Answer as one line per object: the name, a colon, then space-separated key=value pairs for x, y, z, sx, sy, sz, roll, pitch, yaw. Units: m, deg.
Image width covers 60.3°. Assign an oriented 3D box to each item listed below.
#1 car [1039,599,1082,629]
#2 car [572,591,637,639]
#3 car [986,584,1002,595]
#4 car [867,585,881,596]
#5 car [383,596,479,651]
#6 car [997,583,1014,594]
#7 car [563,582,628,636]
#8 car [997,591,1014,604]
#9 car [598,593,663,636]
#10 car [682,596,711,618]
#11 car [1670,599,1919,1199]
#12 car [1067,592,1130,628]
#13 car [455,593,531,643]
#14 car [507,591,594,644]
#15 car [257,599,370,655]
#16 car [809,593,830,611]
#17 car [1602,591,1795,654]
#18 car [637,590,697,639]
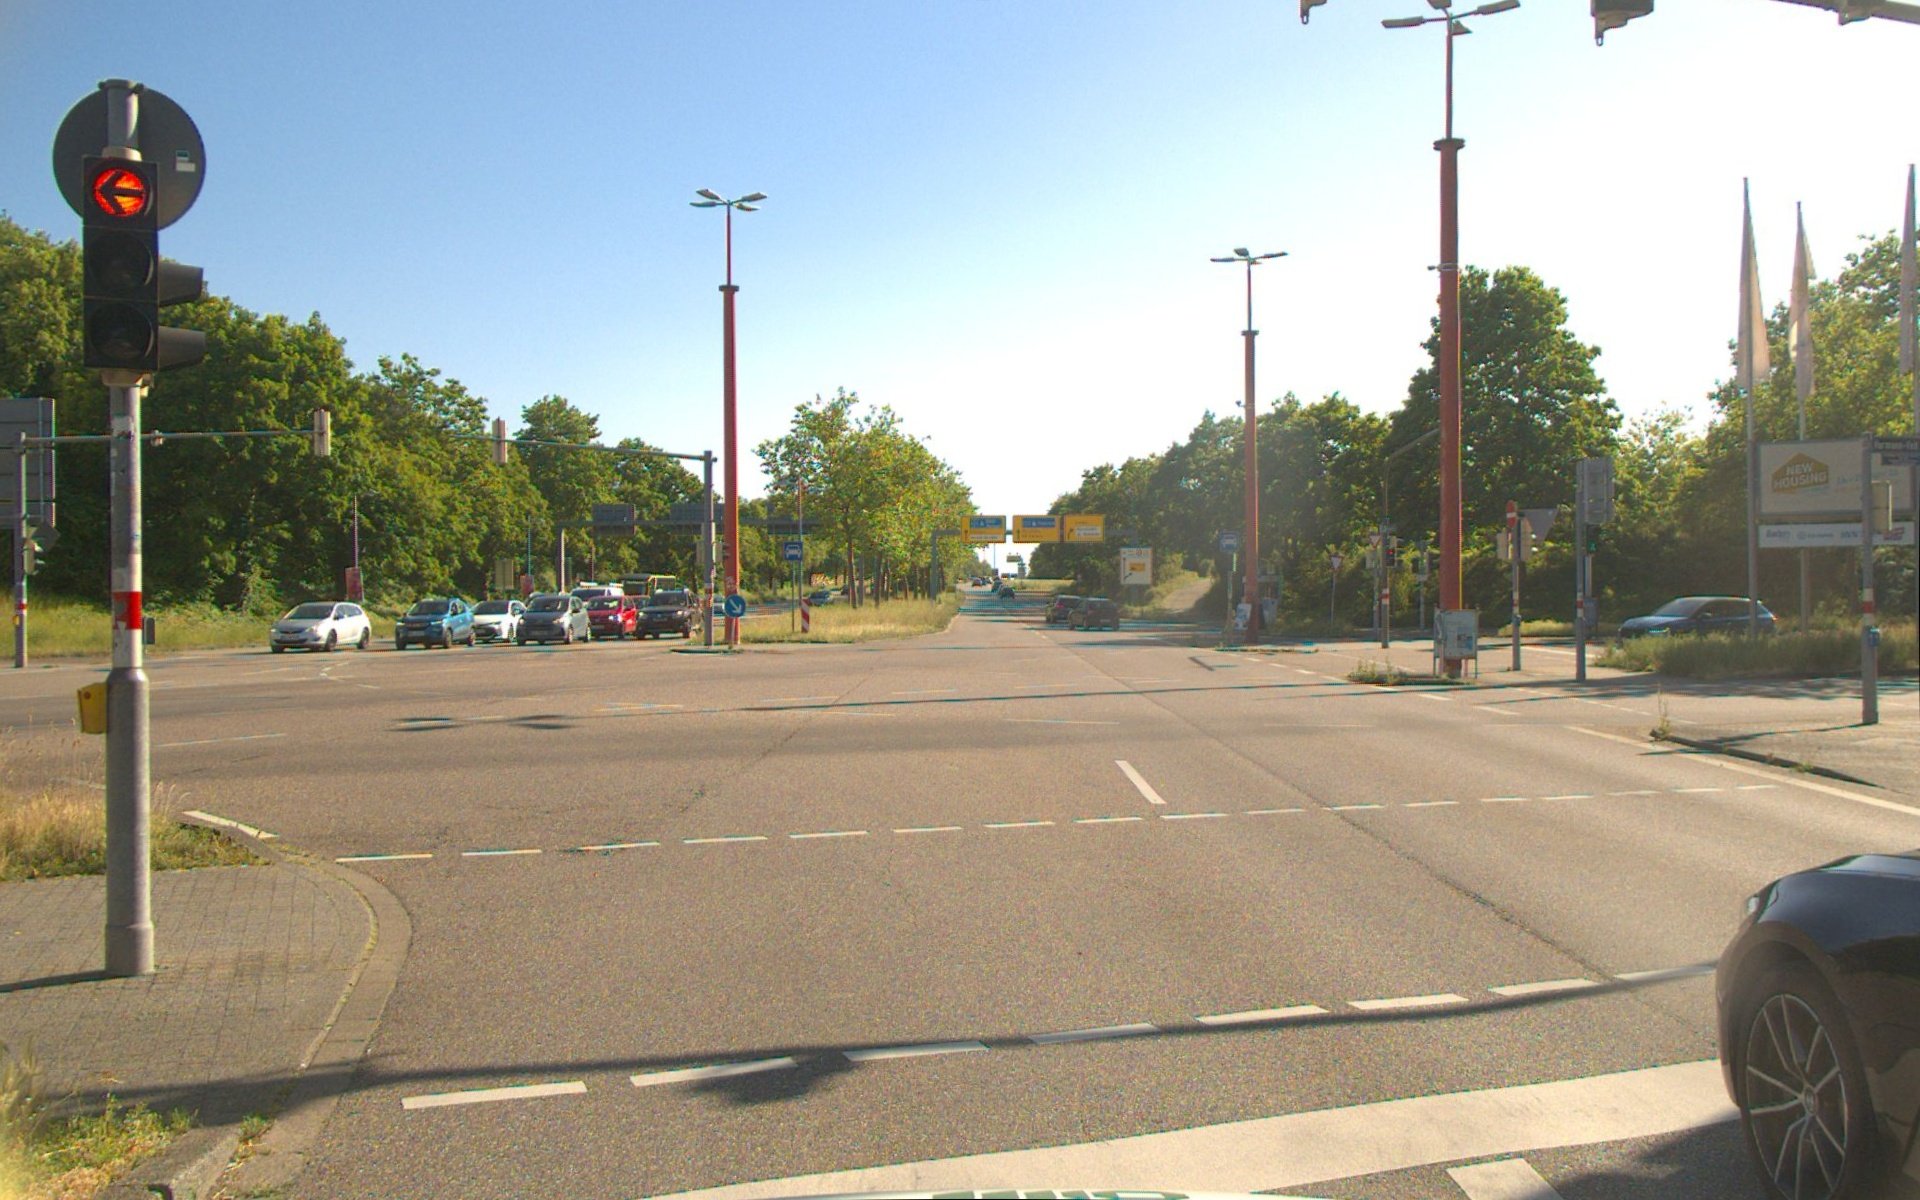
car: x=5.623 y=0.772 z=92.884 sx=2.115 sy=1.601 sz=4.582 roll=0 pitch=0 yaw=0
car: x=-12.479 y=0.504 z=58.264 sx=1.956 sy=1.601 sz=4.113 roll=0 pitch=0 yaw=-8
car: x=5.164 y=-1.650 z=253.712 sx=2.116 sy=1.601 sz=4.277 roll=0 pitch=0 yaw=-4
car: x=-12.858 y=-1.464 z=247.097 sx=1.840 sy=1.601 sz=4.116 roll=0 pitch=0 yaw=-5
car: x=-16.208 y=0.680 z=50.883 sx=1.955 sy=1.601 sz=4.116 roll=0 pitch=0 yaw=-5
car: x=6.440 y=-1.630 z=233.265 sx=2.115 sy=1.601 sz=4.279 roll=0 pitch=0 yaw=-2
car: x=-15.672 y=0.383 z=71.257 sx=2.021 sy=2.231 sz=4.376 roll=0 pitch=0 yaw=-3
car: x=5.730 y=-0.378 z=208.140 sx=2.114 sy=1.601 sz=4.281 roll=0 pitch=0 yaw=1
car: x=-12.712 y=0.525 z=64.039 sx=1.954 sy=1.601 sz=4.117 roll=0 pitch=0 yaw=-4
car: x=-19.871 y=0.523 z=124.815 sx=1.840 sy=1.601 sz=4.116 roll=0 pitch=0 yaw=-5
car: x=2.975 y=0.711 z=2.354 sx=1.953 sy=1.419 sz=4.476 roll=0 pitch=0 yaw=-1
car: x=6.346 y=0.433 z=76.147 sx=2.117 sy=1.601 sz=4.275 roll=0 pitch=0 yaw=-6
car: x=-15.991 y=0.594 z=56.777 sx=1.956 sy=1.601 sz=4.113 roll=-1 pitch=0 yaw=-8
car: x=-12.805 y=0.519 z=51.957 sx=1.954 sy=1.601 sz=4.118 roll=0 pitch=0 yaw=-4
car: x=-19.586 y=0.783 z=50.290 sx=1.954 sy=1.601 sz=4.118 roll=0 pitch=0 yaw=-3
car: x=-12.757 y=0.202 z=150.152 sx=1.840 sy=1.601 sz=4.116 roll=0 pitch=0 yaw=-5
car: x=18.148 y=0.529 z=40.684 sx=4.202 sy=1.453 sz=1.874 roll=0 pitch=0 yaw=-19
car: x=-9.874 y=0.469 z=55.984 sx=1.841 sy=1.601 sz=4.113 roll=0 pitch=0 yaw=-8
